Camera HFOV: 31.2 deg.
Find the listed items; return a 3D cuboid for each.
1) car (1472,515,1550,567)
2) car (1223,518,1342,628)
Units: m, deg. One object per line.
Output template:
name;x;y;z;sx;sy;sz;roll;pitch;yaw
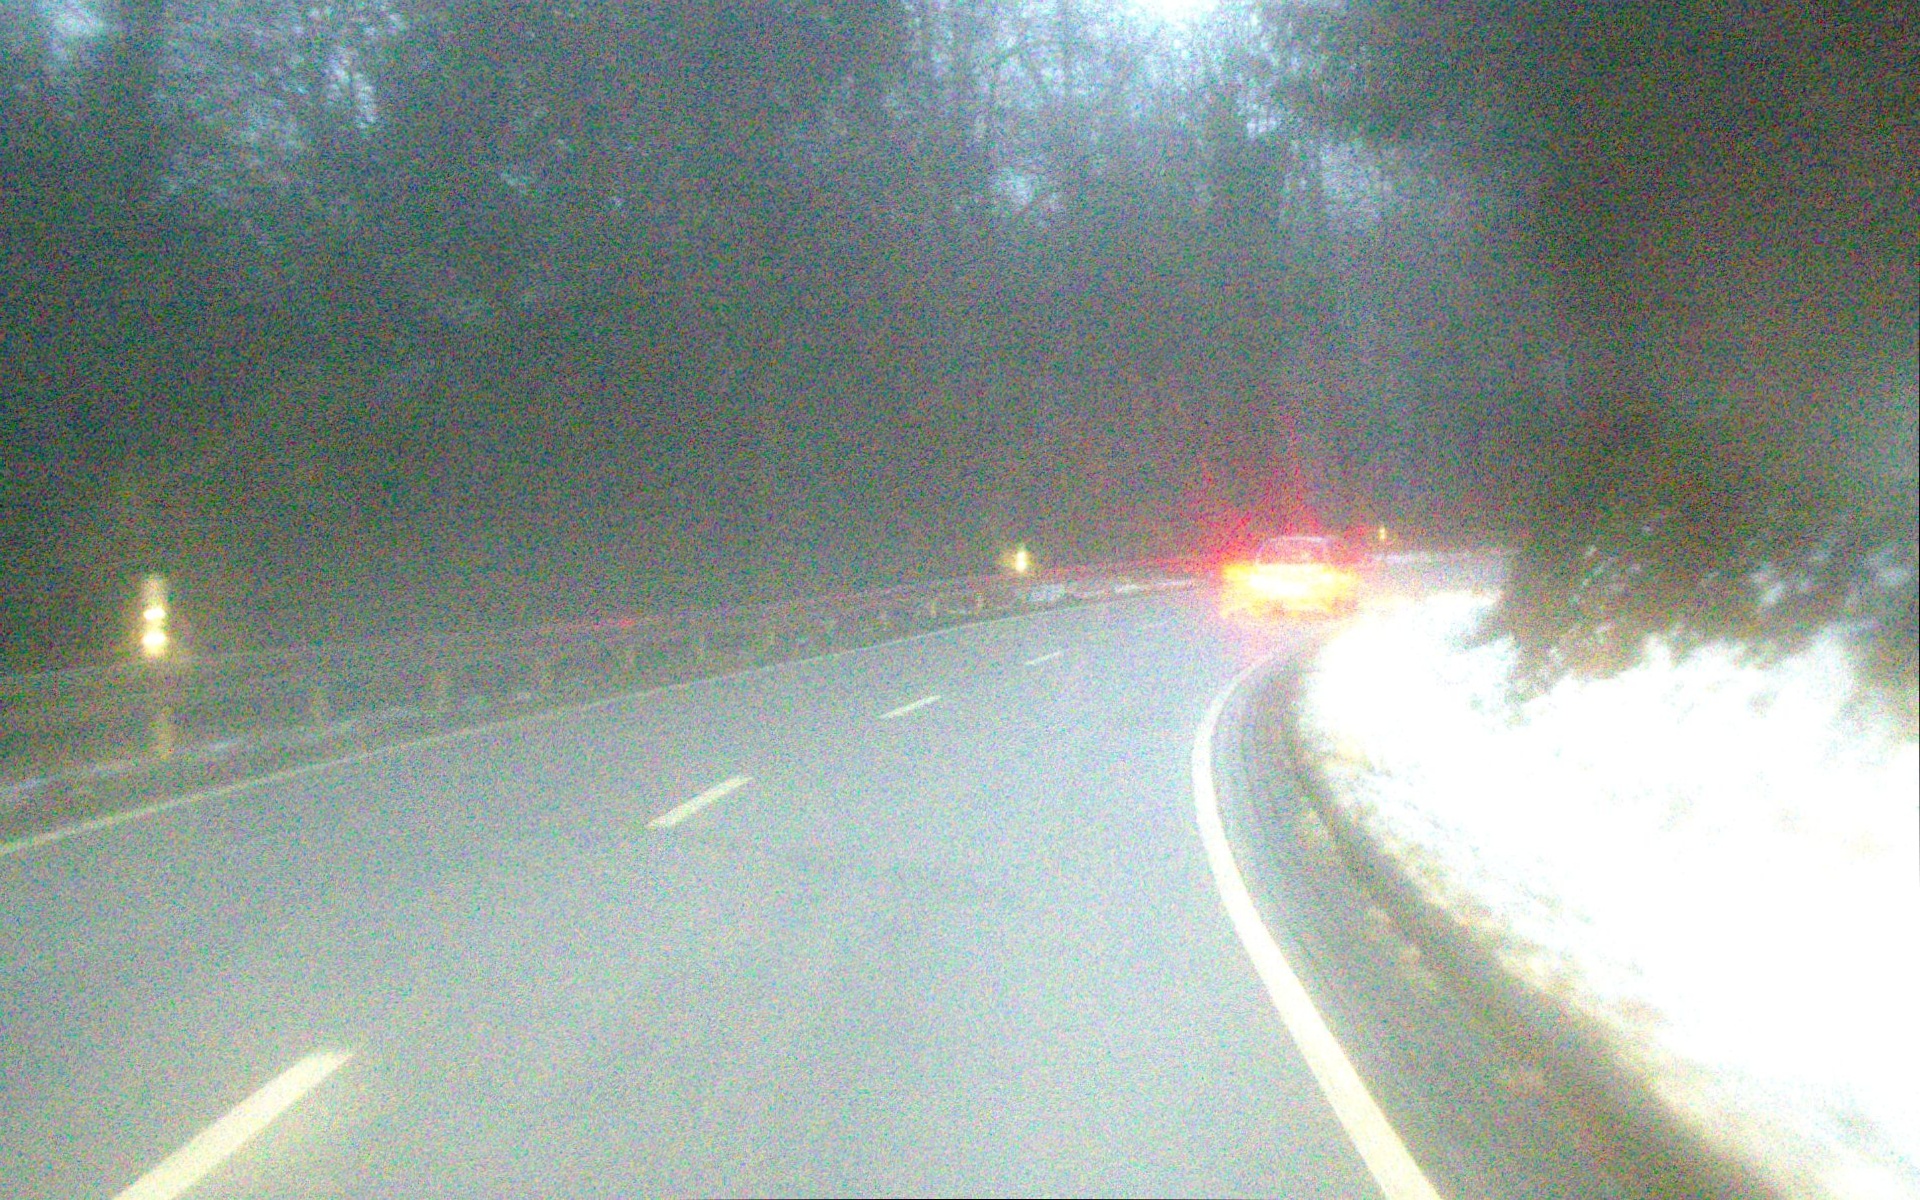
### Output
car;15.076;-1.631;94.256;1.994;1.305;3.999;-2;1;8
car;5.939;-0.529;62.928;1.994;1.866;3.999;-2;1;7
